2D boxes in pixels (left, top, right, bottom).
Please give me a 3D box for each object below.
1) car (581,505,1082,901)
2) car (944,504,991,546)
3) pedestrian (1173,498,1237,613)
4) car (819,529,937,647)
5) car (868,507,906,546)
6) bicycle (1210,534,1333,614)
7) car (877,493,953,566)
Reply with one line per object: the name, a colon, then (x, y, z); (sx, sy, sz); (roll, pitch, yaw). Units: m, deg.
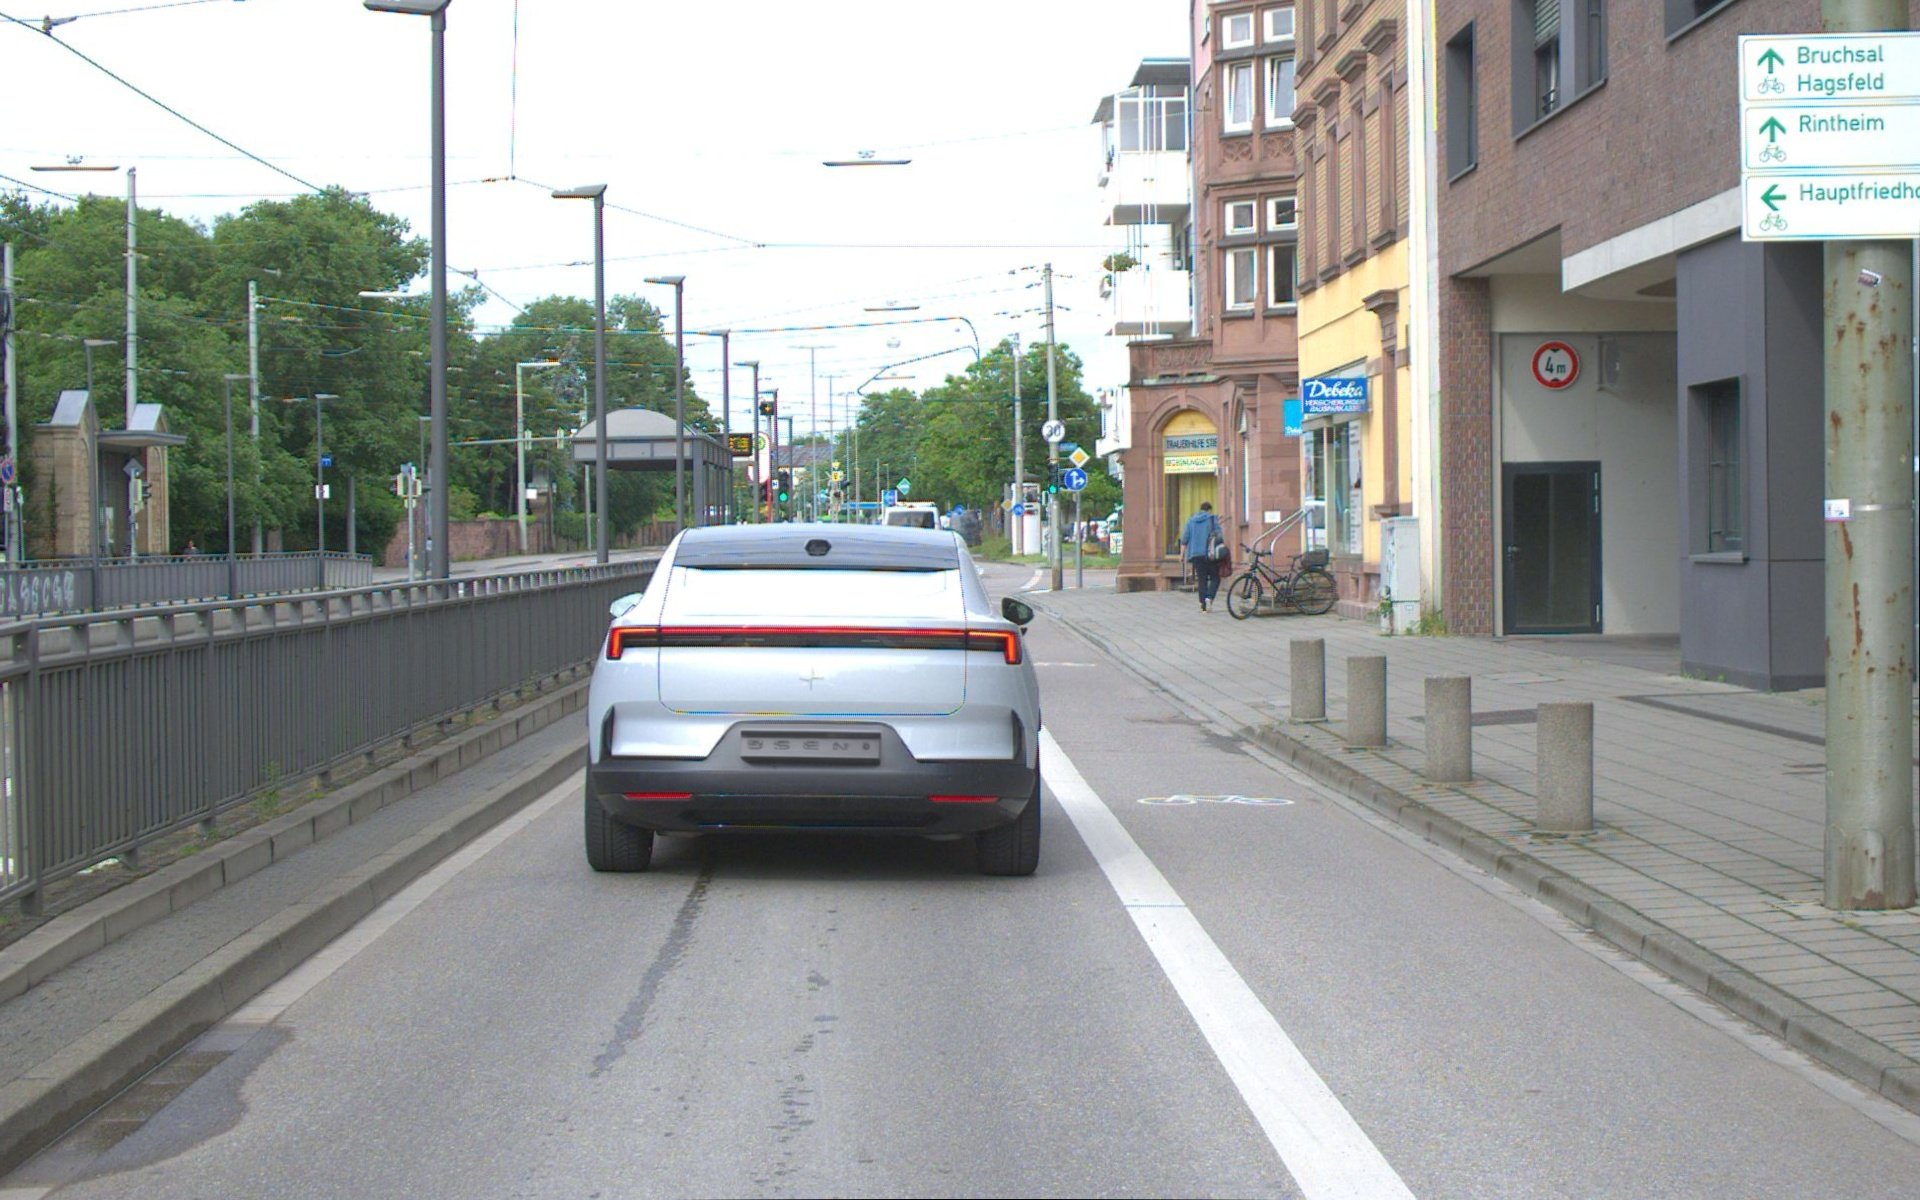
car: (-0.691, 0.392, 15.745); (1.999, 1.575, 4.001); (0, 1, -5)
car: (0.445, -4.616, 212.443); (2.807, 2.496, 5.723); (0, 1, -1)
pedestrian: (4.102, -0.751, 57.565); (0.961, 1.843, 0.975); (-3, 2, 5)
car: (-1.193, -0.200, 51.185); (1.681, 1.681, 3.824); (0, 1, -1)
car: (-3.858, -3.897, 182.393); (1.993, 2.007, 4.000); (-1, 1, -1)
bicycle: (4.792, -0.400, 52.975); (1.777, 1.125, 0.642); (-3, 1, -1)
car: (-1.532, -2.334, 114.598); (2.225, 2.394, 5.124); (0, 1, -4)
